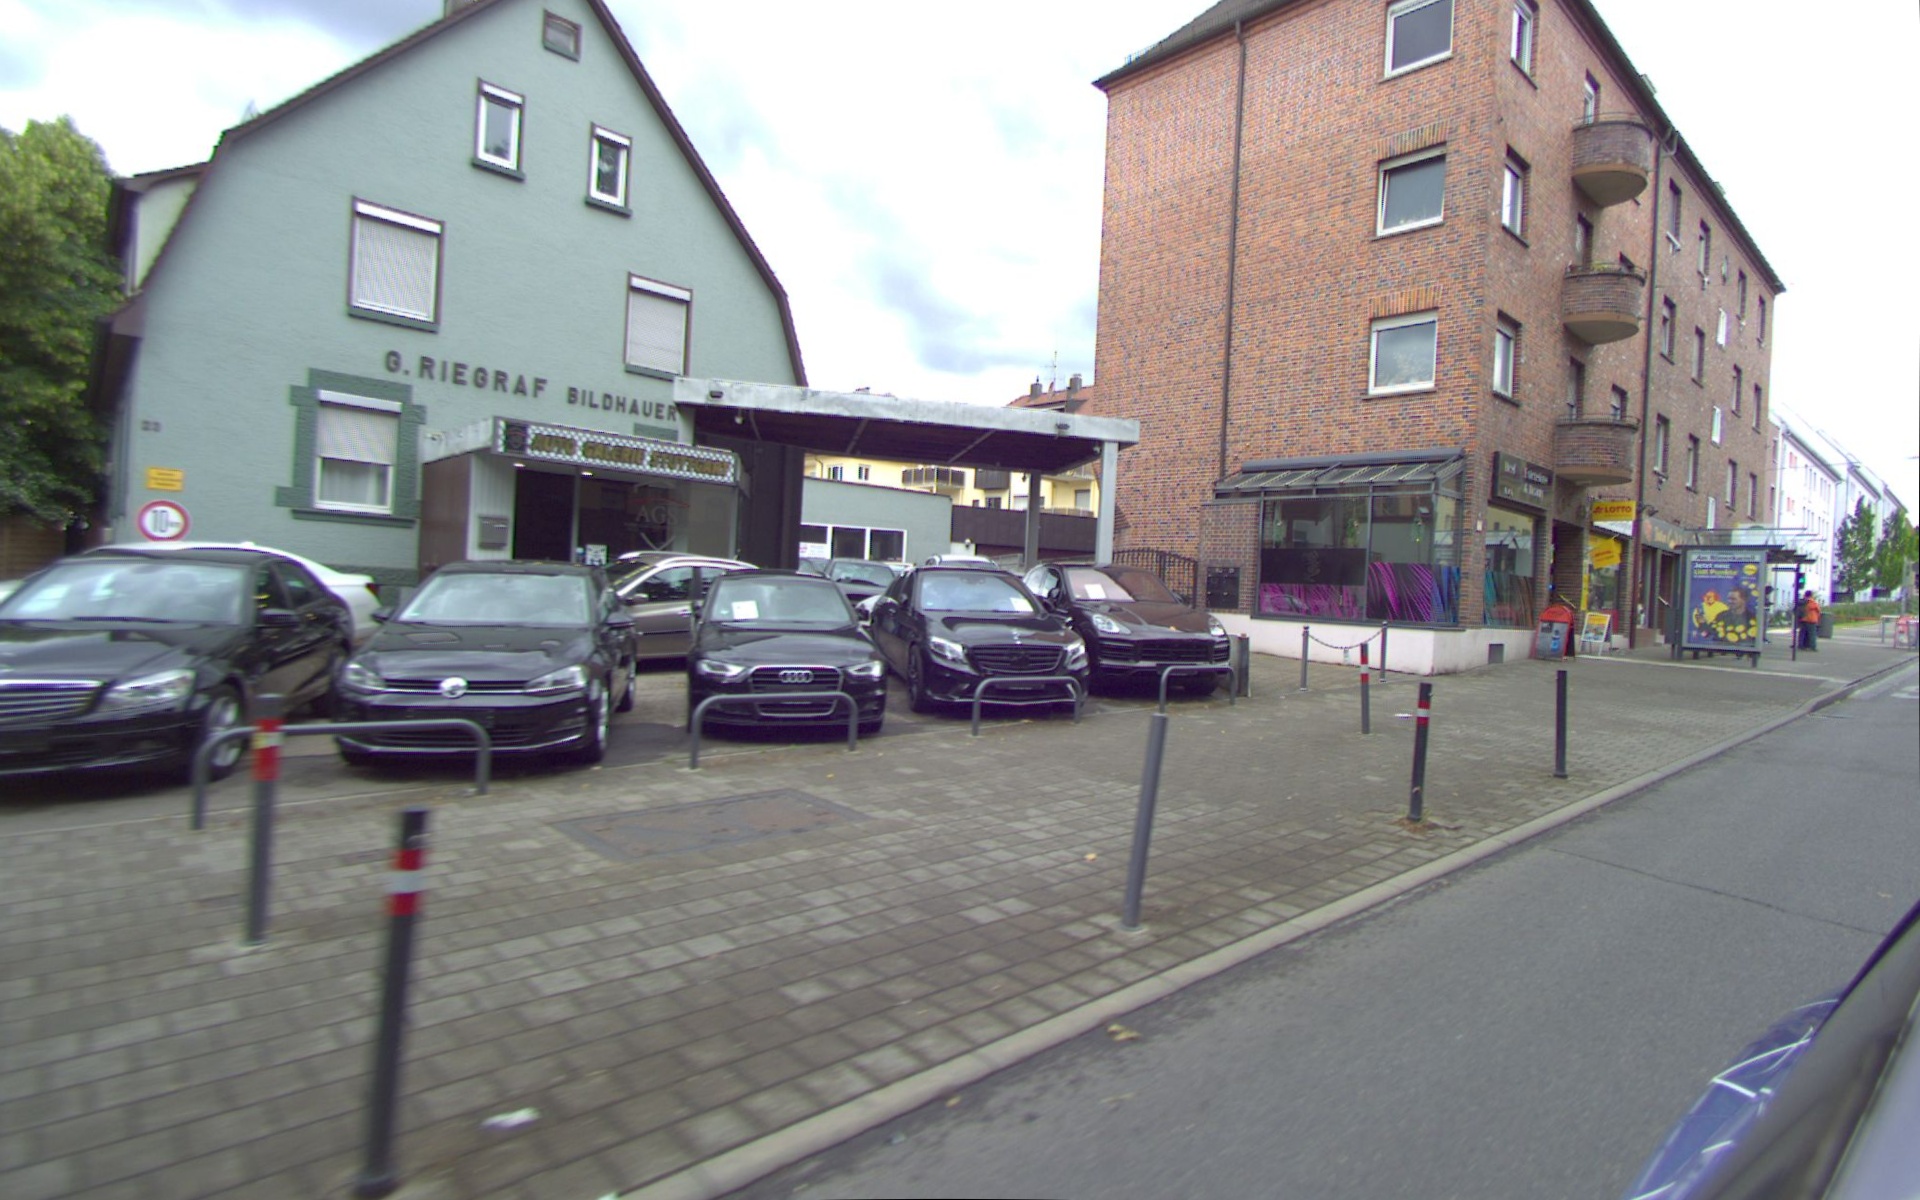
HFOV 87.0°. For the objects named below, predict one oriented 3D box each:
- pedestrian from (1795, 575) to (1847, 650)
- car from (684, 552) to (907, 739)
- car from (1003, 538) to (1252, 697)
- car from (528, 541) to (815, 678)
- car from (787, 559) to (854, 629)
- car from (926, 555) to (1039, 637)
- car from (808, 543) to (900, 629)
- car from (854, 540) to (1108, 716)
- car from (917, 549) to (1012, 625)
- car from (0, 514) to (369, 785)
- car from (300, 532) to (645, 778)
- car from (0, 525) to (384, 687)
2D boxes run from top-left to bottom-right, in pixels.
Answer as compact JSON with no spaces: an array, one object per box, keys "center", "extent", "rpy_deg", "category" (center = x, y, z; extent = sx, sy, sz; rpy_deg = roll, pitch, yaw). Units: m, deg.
[{"center":[23.808,0.331,27.983],"extent":[0.839,2.039,0.789],"rpy_deg":[0,0,-21],"category":"pedestrian"},{"center":[-1.856,0.322,10.239],"extent":[1.732,1.484,4.113],"rpy_deg":[1,1,-16],"category":"car"},{"center":[2.063,0.172,13.728],"extent":[1.911,1.820,3.945],"rpy_deg":[0,0,-14],"category":"car"},{"center":[-3.843,0.071,13.977],"extent":[1.683,1.621,3.581],"rpy_deg":[2,2,34],"category":"car"},{"center":[-3.502,-0.159,25.042],"extent":[1.431,1.589,3.404],"rpy_deg":[0,0,-11],"category":"car"},{"center":[0.339,-0.087,18.783],"extent":[1.438,1.380,3.174],"rpy_deg":[0,0,-11],"category":"car"},{"center":[-2.266,-0.282,20.940],"extent":[1.522,1.608,3.632],"rpy_deg":[1,0,-11],"category":"car"},{"center":[0.039,0.244,11.939],"extent":[1.883,1.694,4.008],"rpy_deg":[0,0,-16],"category":"car"},{"center":[0.033,-0.295,22.921],"extent":[1.528,1.589,3.284],"rpy_deg":[0,0,-11],"category":"car"},{"center":[-5.756,0.221,7.344],"extent":[1.668,1.469,3.893],"rpy_deg":[0,1,-17],"category":"car"},{"center":[-3.648,0.302,8.347],"extent":[1.761,1.502,4.054],"rpy_deg":[1,1,-14],"category":"car"},{"center":[-9.530,0.006,11.688],"extent":[1.960,1.565,4.831],"rpy_deg":[2,1,22],"category":"car"}]
